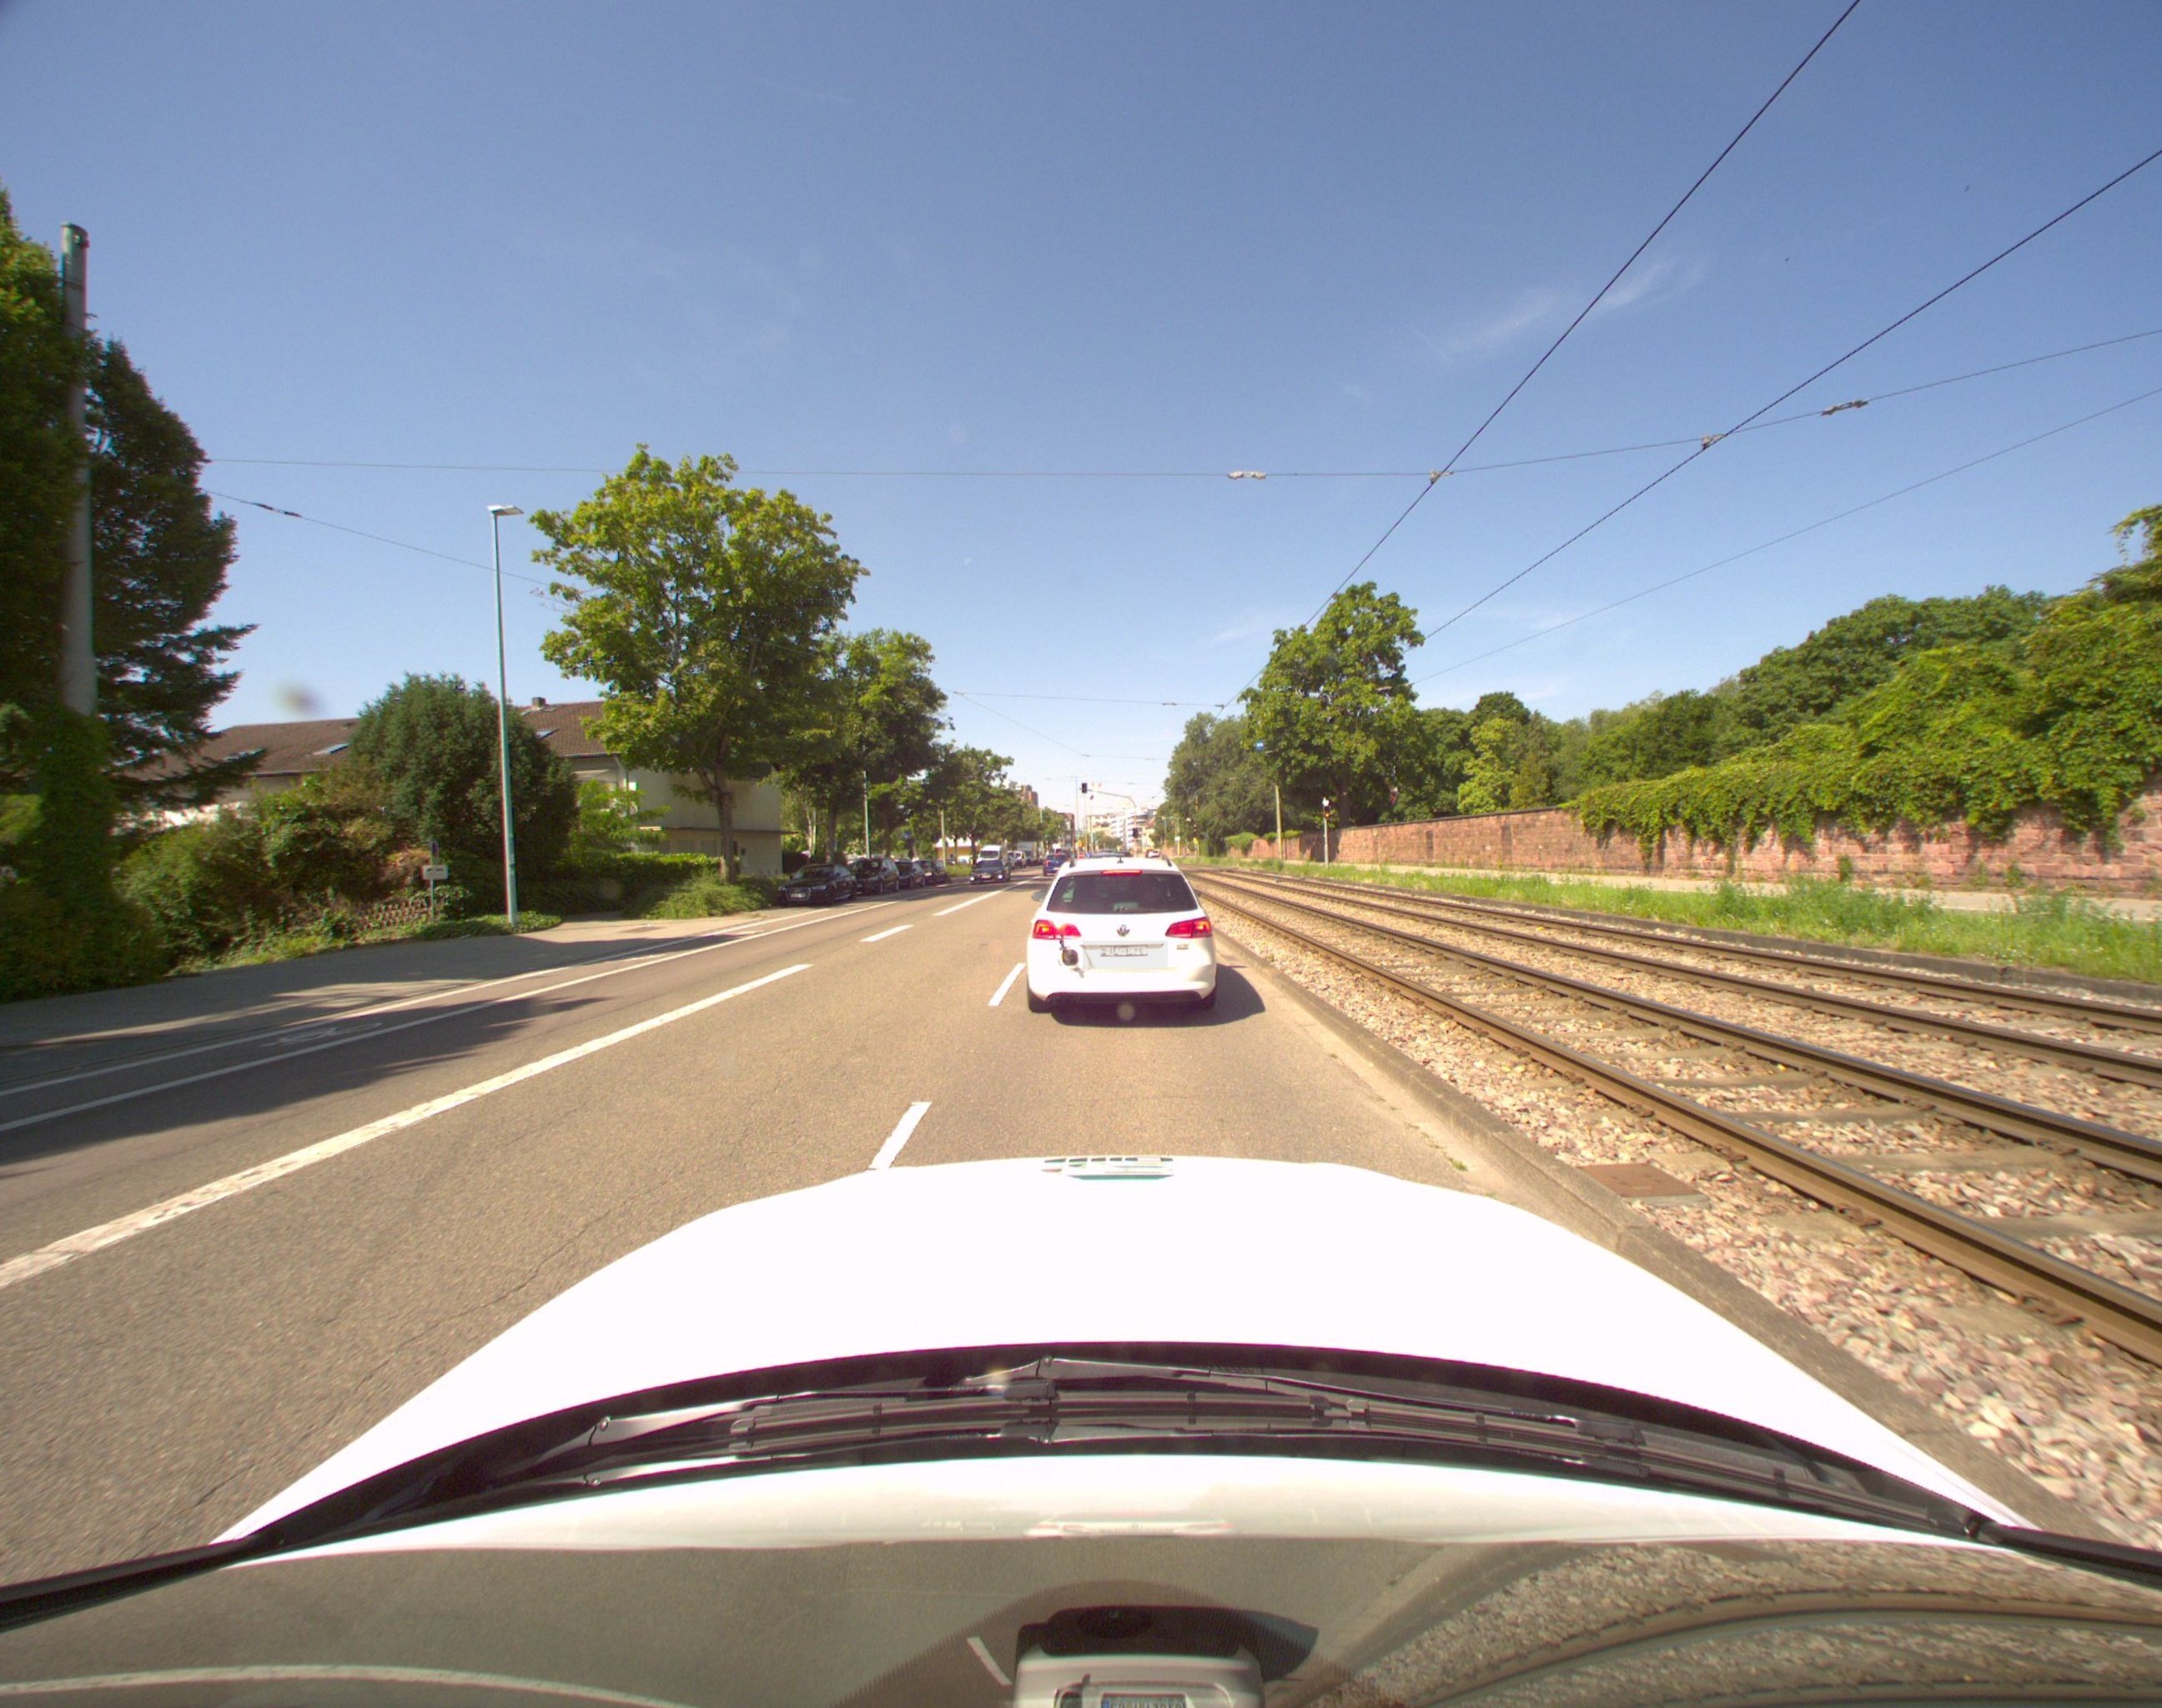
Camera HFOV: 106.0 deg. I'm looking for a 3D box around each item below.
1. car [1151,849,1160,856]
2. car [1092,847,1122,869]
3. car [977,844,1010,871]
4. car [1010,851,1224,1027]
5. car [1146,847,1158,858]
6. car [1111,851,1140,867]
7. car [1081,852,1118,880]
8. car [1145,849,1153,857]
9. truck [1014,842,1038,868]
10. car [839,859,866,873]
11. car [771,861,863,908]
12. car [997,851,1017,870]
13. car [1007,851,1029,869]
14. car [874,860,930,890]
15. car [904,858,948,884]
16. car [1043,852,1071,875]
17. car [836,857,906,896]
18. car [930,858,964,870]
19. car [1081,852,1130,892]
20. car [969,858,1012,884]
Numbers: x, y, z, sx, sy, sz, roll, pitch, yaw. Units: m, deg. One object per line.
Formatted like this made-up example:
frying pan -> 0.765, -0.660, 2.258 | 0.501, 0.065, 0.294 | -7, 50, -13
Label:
car -> 15.186, -0.262, 165.234 | 1.576, 1.346, 3.455 | 0, -1, 2
car -> 1.874, 0.263, 58.165 | 1.852, 1.513, 3.919 | 0, 0, 6
car -> -8.287, 0.312, 77.738 | 2.049, 2.501, 6.315 | 0, 0, 4
car -> 0.337, 0.699, 8.694 | 1.762, 1.446, 3.914 | 0, 0, 1
car -> 16.386, -0.249, 187.931 | 2.454, 2.499, 5.912 | 0, -1, 2
car -> 4.263, 0.464, 77.597 | 1.731, 1.407, 3.933 | 0, 0, 20
car -> 0.992, 0.603, 42.872 | 1.854, 1.416, 4.326 | 0, 0, 2
car -> 14.985, -0.150, 179.381 | 1.685, 1.812, 3.455 | 0, -1, 2
truck -> -7.146, 0.079, 105.791 | 2.348, 3.122, 6.893 | -2, 0, 1
car -> -32.966, 1.724, 117.462 | 3.412, 1.876, 1.552 | -3, 0, 0
car -> -9.609, 1.054, 30.034 | 1.835, 1.465, 4.907 | -2, 0, -2
car -> -8.307, 0.723, 91.227 | 1.839, 1.937, 5.190 | -2, 0, -2
car -> -7.458, 0.683, 96.763 | 1.836, 1.960, 5.137 | -2, 0, 2
car -> -9.347, 1.070, 42.921 | 1.684, 1.379, 4.784 | -2, 0, 2
car -> -9.066, 0.971, 47.848 | 1.635, 1.450, 4.007 | 0, 0, 3
car -> -1.519, 0.608, 52.812 | 1.741, 1.407, 3.910 | 0, 0, -2
car -> -9.449, 0.971, 37.059 | 1.755, 1.606, 4.895 | -1, 0, 2
car -> -17.577, 1.287, 106.733 | 3.969, 1.444, 1.773 | -3, 0, 4
car -> 0.931, 0.622, 30.819 | 1.739, 1.388, 3.914 | 0, 0, 1
car -> -4.730, 0.864, 43.191 | 1.681, 1.244, 4.066 | -2, 0, 2
